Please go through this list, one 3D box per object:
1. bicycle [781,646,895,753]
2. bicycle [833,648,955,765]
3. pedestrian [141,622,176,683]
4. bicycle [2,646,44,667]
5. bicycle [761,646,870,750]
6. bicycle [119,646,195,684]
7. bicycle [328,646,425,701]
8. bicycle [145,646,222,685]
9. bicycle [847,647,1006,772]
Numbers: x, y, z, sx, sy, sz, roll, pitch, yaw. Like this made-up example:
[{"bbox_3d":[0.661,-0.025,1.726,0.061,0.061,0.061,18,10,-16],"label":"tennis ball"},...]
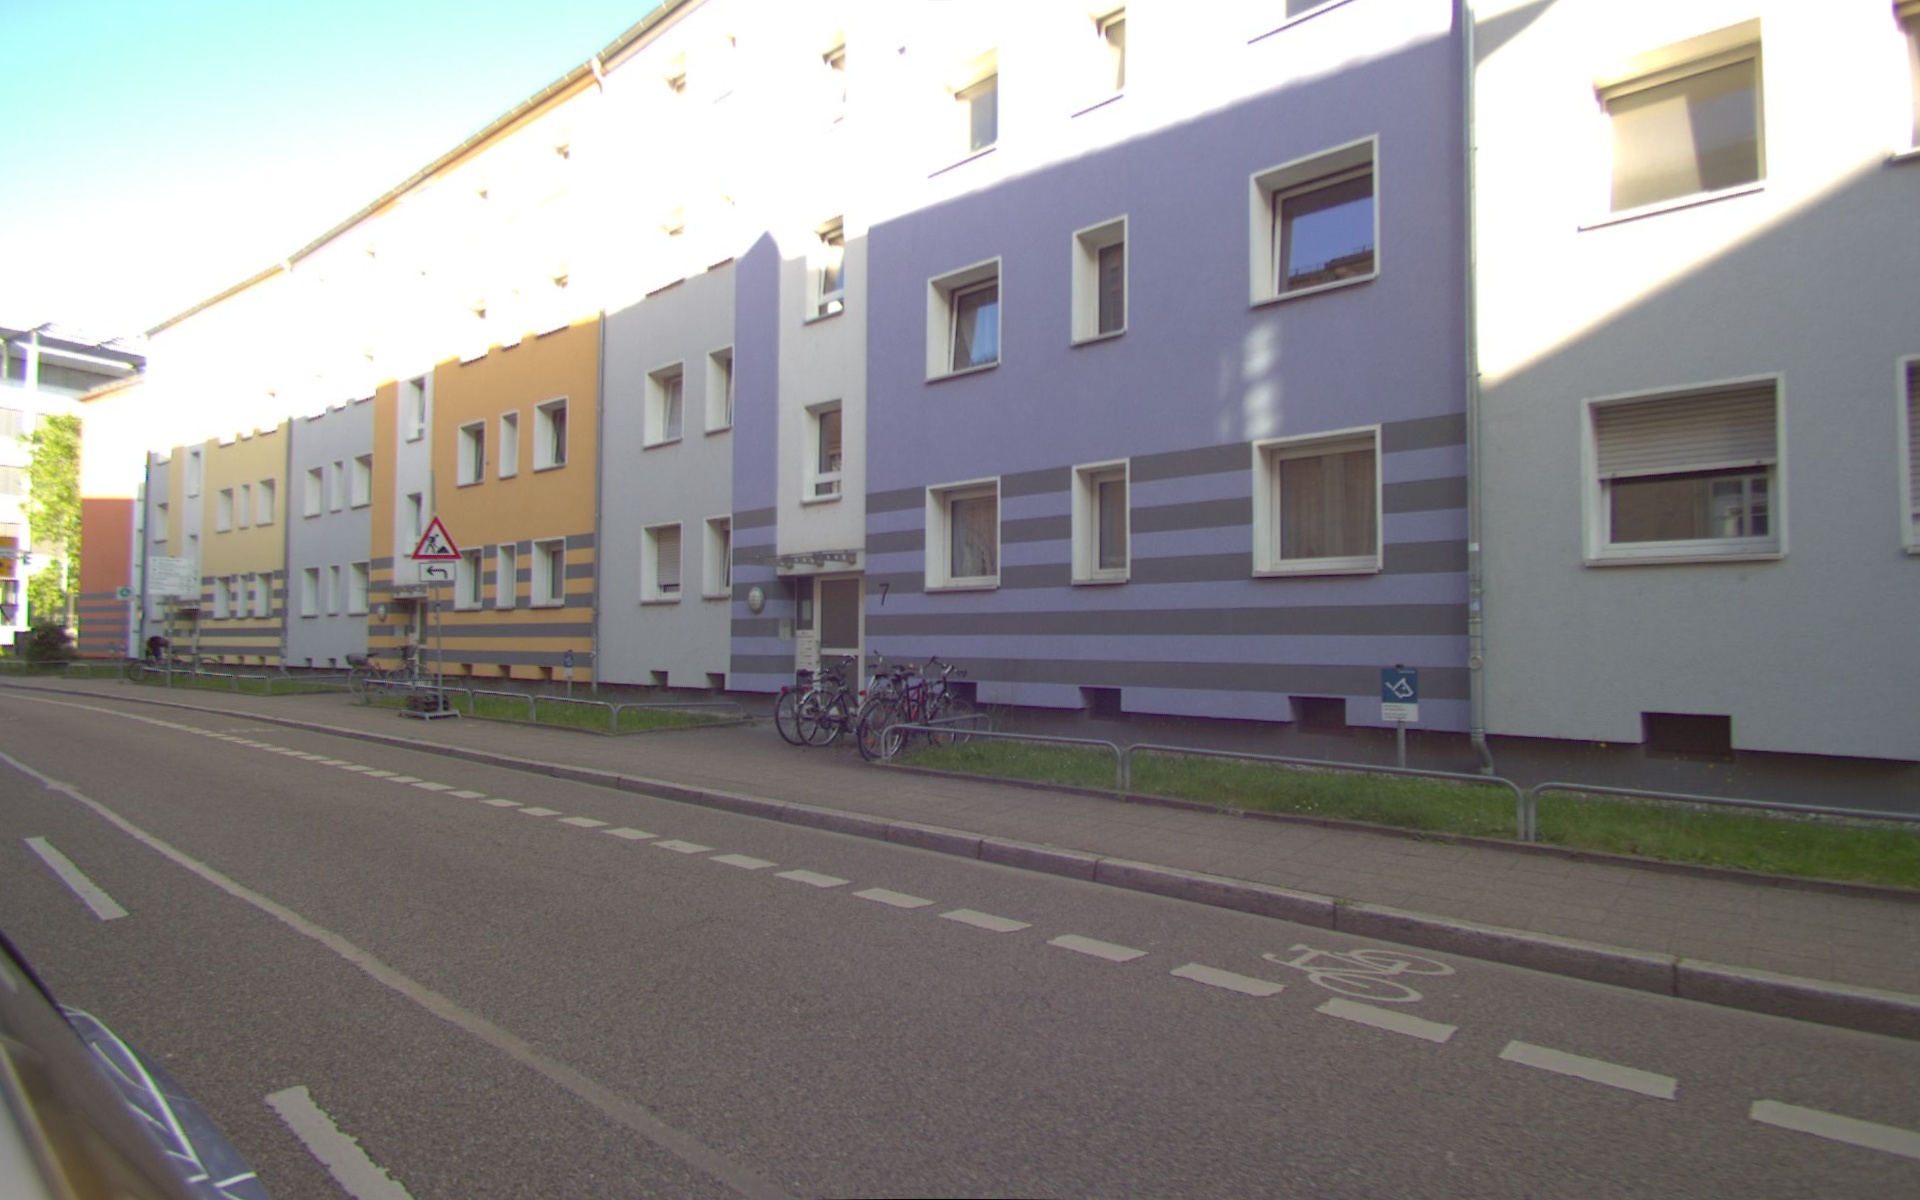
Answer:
[{"bbox_3d":[-1.511,1.213,12.773,0.448,1.251,1.569,-2,-3,38],"label":"bicycle"},{"bbox_3d":[-0.736,1.193,11.746,0.466,1.251,1.623,-2,-3,38],"label":"bicycle"},{"bbox_3d":[-25.362,1.655,32.042,0.709,1.869,0.872,1,-3,-30],"label":"pedestrian"},{"bbox_3d":[-54.335,3.270,58.696,1.965,1.191,0.470,0,-2,0],"label":"bicycle"},{"bbox_3d":[-1.835,1.221,13.036,0.384,1.251,1.564,-2,-3,38],"label":"bicycle"},{"bbox_3d":[-25.147,2.030,31.718,0.648,1.154,1.739,-2,-3,30],"label":"bicycle"},{"bbox_3d":[-12.826,1.597,22.283,0.648,1.154,1.739,-2,-3,30],"label":"bicycle"},{"bbox_3d":[-23.864,2.001,31.134,0.648,1.154,1.739,-2,-3,30],"label":"bicycle"},{"bbox_3d":[-0.326,1.142,11.117,0.622,1.241,1.989,-2,-3,38],"label":"bicycle"}]
